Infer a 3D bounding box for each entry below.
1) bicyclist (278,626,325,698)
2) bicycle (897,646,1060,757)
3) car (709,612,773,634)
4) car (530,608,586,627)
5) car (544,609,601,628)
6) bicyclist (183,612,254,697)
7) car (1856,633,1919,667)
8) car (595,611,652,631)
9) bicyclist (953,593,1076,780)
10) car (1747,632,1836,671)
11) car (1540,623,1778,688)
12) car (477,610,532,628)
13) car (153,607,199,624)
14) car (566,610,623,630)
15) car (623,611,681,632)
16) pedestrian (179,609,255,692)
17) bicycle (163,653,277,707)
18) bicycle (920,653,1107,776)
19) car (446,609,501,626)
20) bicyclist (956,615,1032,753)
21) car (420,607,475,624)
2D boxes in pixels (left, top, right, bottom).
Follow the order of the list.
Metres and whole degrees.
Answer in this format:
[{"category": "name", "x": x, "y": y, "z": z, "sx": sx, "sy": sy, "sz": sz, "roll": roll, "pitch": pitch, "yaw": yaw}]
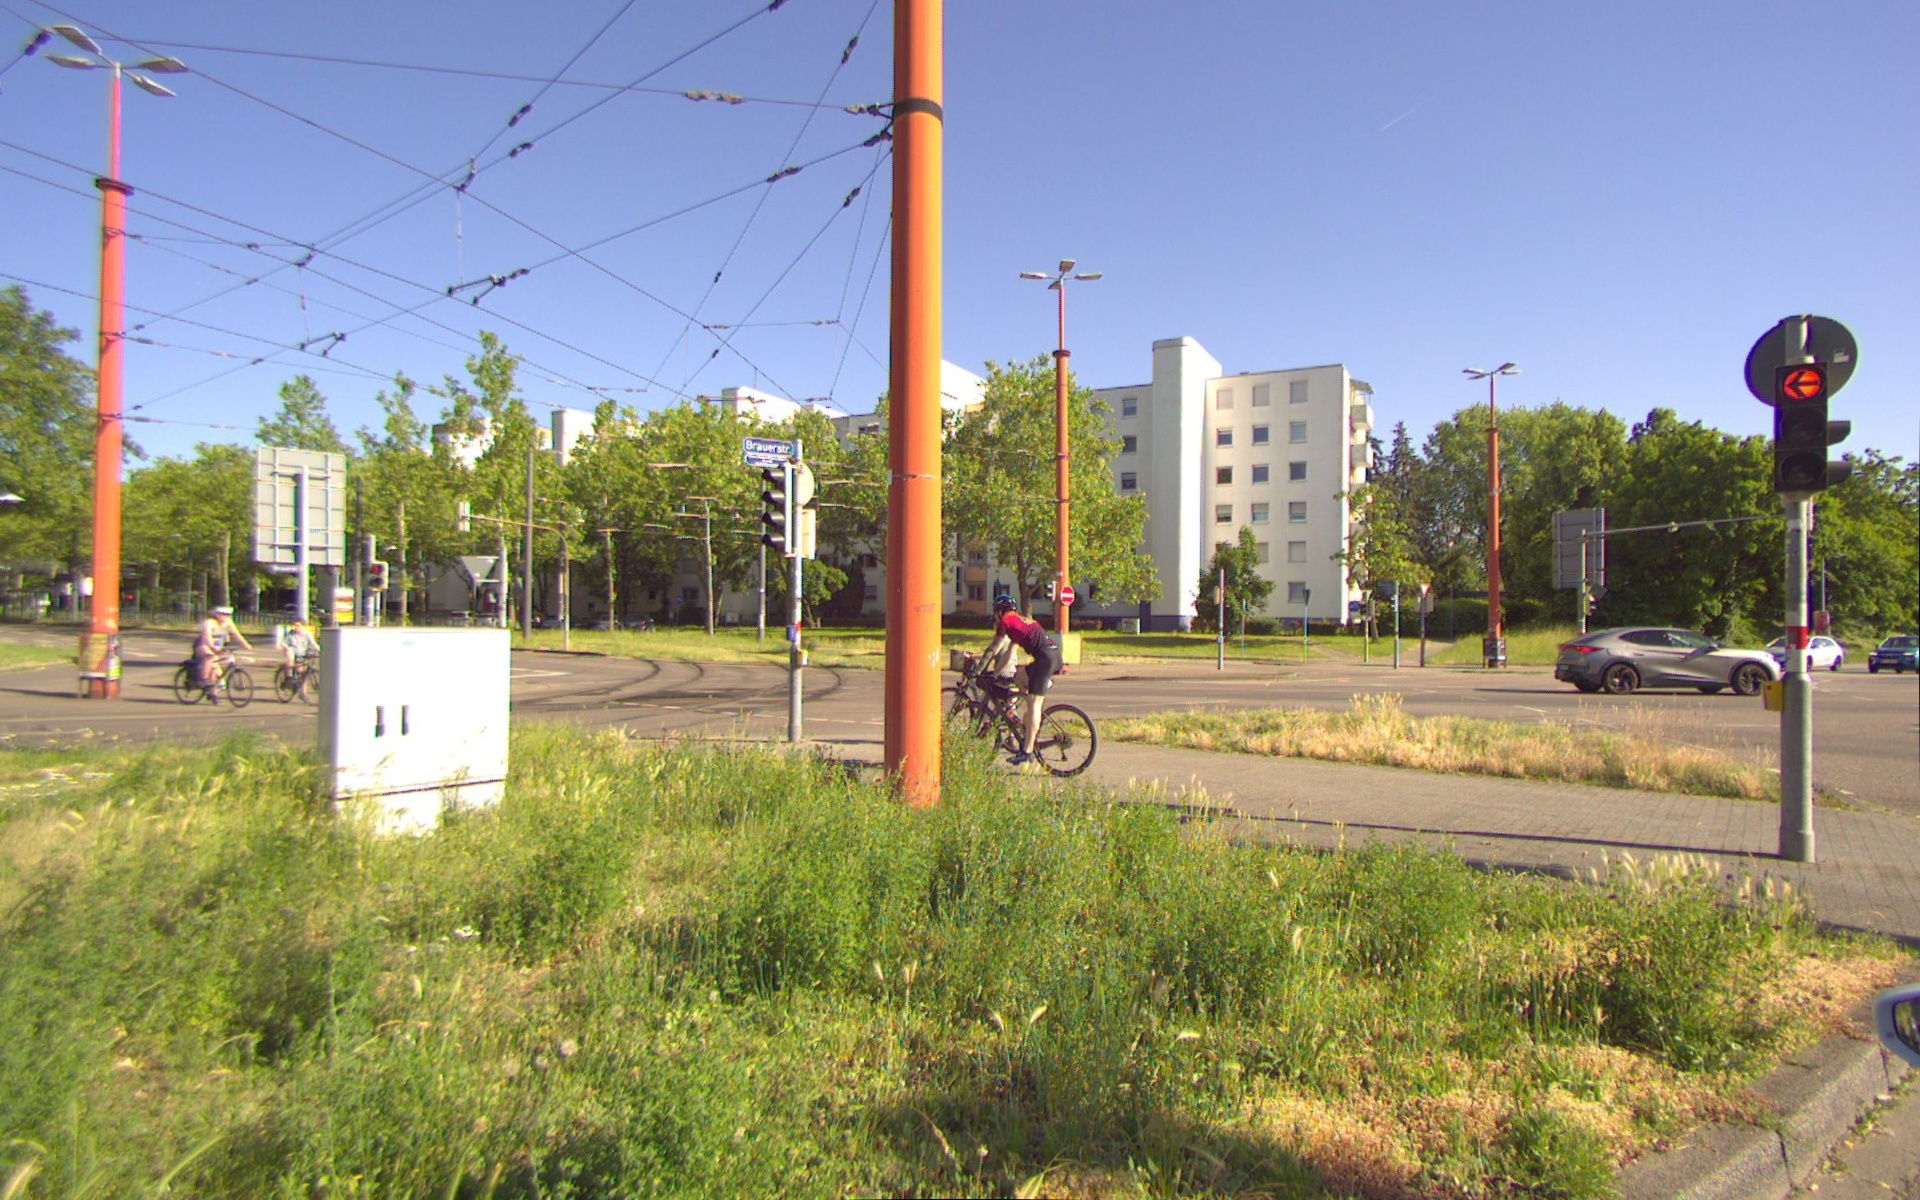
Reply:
[{"category": "bicyclist", "x": -13.088, "y": 1.225, "z": 19.976, "sx": 0.616, "sy": 1.399, "sz": 0.443, "roll": 1, "pitch": -1, "yaw": -1}, {"category": "bicycle", "x": 0.211, "y": 1.196, "z": 12.277, "sx": 1.915, "sy": 1.210, "sz": 0.690, "roll": 0, "pitch": -1, "yaw": 33}, {"category": "car", "x": -14.545, "y": 1.551, "z": 66.840, "sx": 1.770, "sy": 1.428, "sz": 3.987, "roll": 0, "pitch": -1, "yaw": 35}, {"category": "car", "x": -31.941, "y": 1.370, "z": 79.969, "sx": 3.935, "sy": 1.428, "sz": 1.794, "roll": 1, "pitch": -1, "yaw": -17}, {"category": "car", "x": -30.079, "y": 1.419, "z": 78.072, "sx": 3.934, "sy": 1.428, "sz": 1.794, "roll": 1, "pitch": -1, "yaw": -16}, {"category": "bicyclist", "x": -14.000, "y": 1.020, "z": 18.980, "sx": 0.752, "sy": 1.565, "sz": 0.732, "roll": 1, "pitch": -1, "yaw": -1}, {"category": "car", "x": 37.155, "y": 1.960, "z": 39.621, "sx": 3.571, "sy": 1.260, "sz": 1.730, "roll": 1, "pitch": -1, "yaw": -31}, {"category": "car", "x": -24.999, "y": 1.557, "z": 74.693, "sx": 3.934, "sy": 1.428, "sz": 1.794, "roll": 1, "pitch": -1, "yaw": -16}, {"category": "bicyclist", "x": 0.548, "y": 0.823, "z": 10.068, "sx": 0.981, "sy": 1.764, "sz": 0.734, "roll": 0, "pitch": -1, "yaw": 37}, {"category": "car", "x": 35.207, "y": 2.139, "z": 42.515, "sx": 3.891, "sy": 1.552, "sz": 1.752, "roll": 1, "pitch": -1, "yaw": -31}, {"category": "car", "x": 16.720, "y": 1.305, "z": 24.249, "sx": 4.347, "sy": 1.441, "sz": 1.838, "roll": 0, "pitch": -1, "yaw": 12}, {"category": "car", "x": -38.034, "y": 1.569, "z": 83.881, "sx": 3.935, "sy": 1.428, "sz": 1.794, "roll": 1, "pitch": -1, "yaw": -17}, {"category": "car", "x": -93.993, "y": 1.884, "z": 120.451, "sx": 1.969, "sy": 2.040, "sz": 3.984, "roll": 0, "pitch": -1, "yaw": 38}, {"category": "car", "x": -27.580, "y": 1.487, "z": 75.918, "sx": 3.934, "sy": 1.428, "sz": 1.794, "roll": 1, "pitch": -1, "yaw": -16}, {"category": "car", "x": -22.258, "y": 1.548, "z": 72.643, "sx": 3.934, "sy": 1.428, "sz": 1.794, "roll": 1, "pitch": -1, "yaw": -16}, {"category": "pedestrian", "x": -16.735, "y": 1.126, "z": 22.636, "sx": 0.968, "sy": 1.817, "sz": 0.955, "roll": 1, "pitch": -1, "yaw": 16}, {"category": "bicycle", "x": -13.954, "y": 1.504, "z": 18.977, "sx": 1.612, "sy": 0.974, "sz": 0.685, "roll": 1, "pitch": -1, "yaw": -1}, {"category": "bicycle", "x": 0.513, "y": 1.100, "z": 10.136, "sx": 1.804, "sy": 1.071, "sz": 0.719, "roll": 0, "pitch": -1, "yaw": 40}, {"category": "car", "x": -41.438, "y": 1.487, "z": 85.622, "sx": 3.935, "sy": 1.428, "sz": 1.794, "roll": 1, "pitch": -1, "yaw": -17}, {"category": "bicyclist", "x": 0.415, "y": 0.986, "z": 12.142, "sx": 0.651, "sy": 1.605, "sz": 0.671, "roll": 0, "pitch": -1, "yaw": 33}, {"category": "car", "x": -44.793, "y": 1.389, "z": 87.892, "sx": 3.935, "sy": 1.428, "sz": 1.794, "roll": 1, "pitch": -1, "yaw": -17}]
